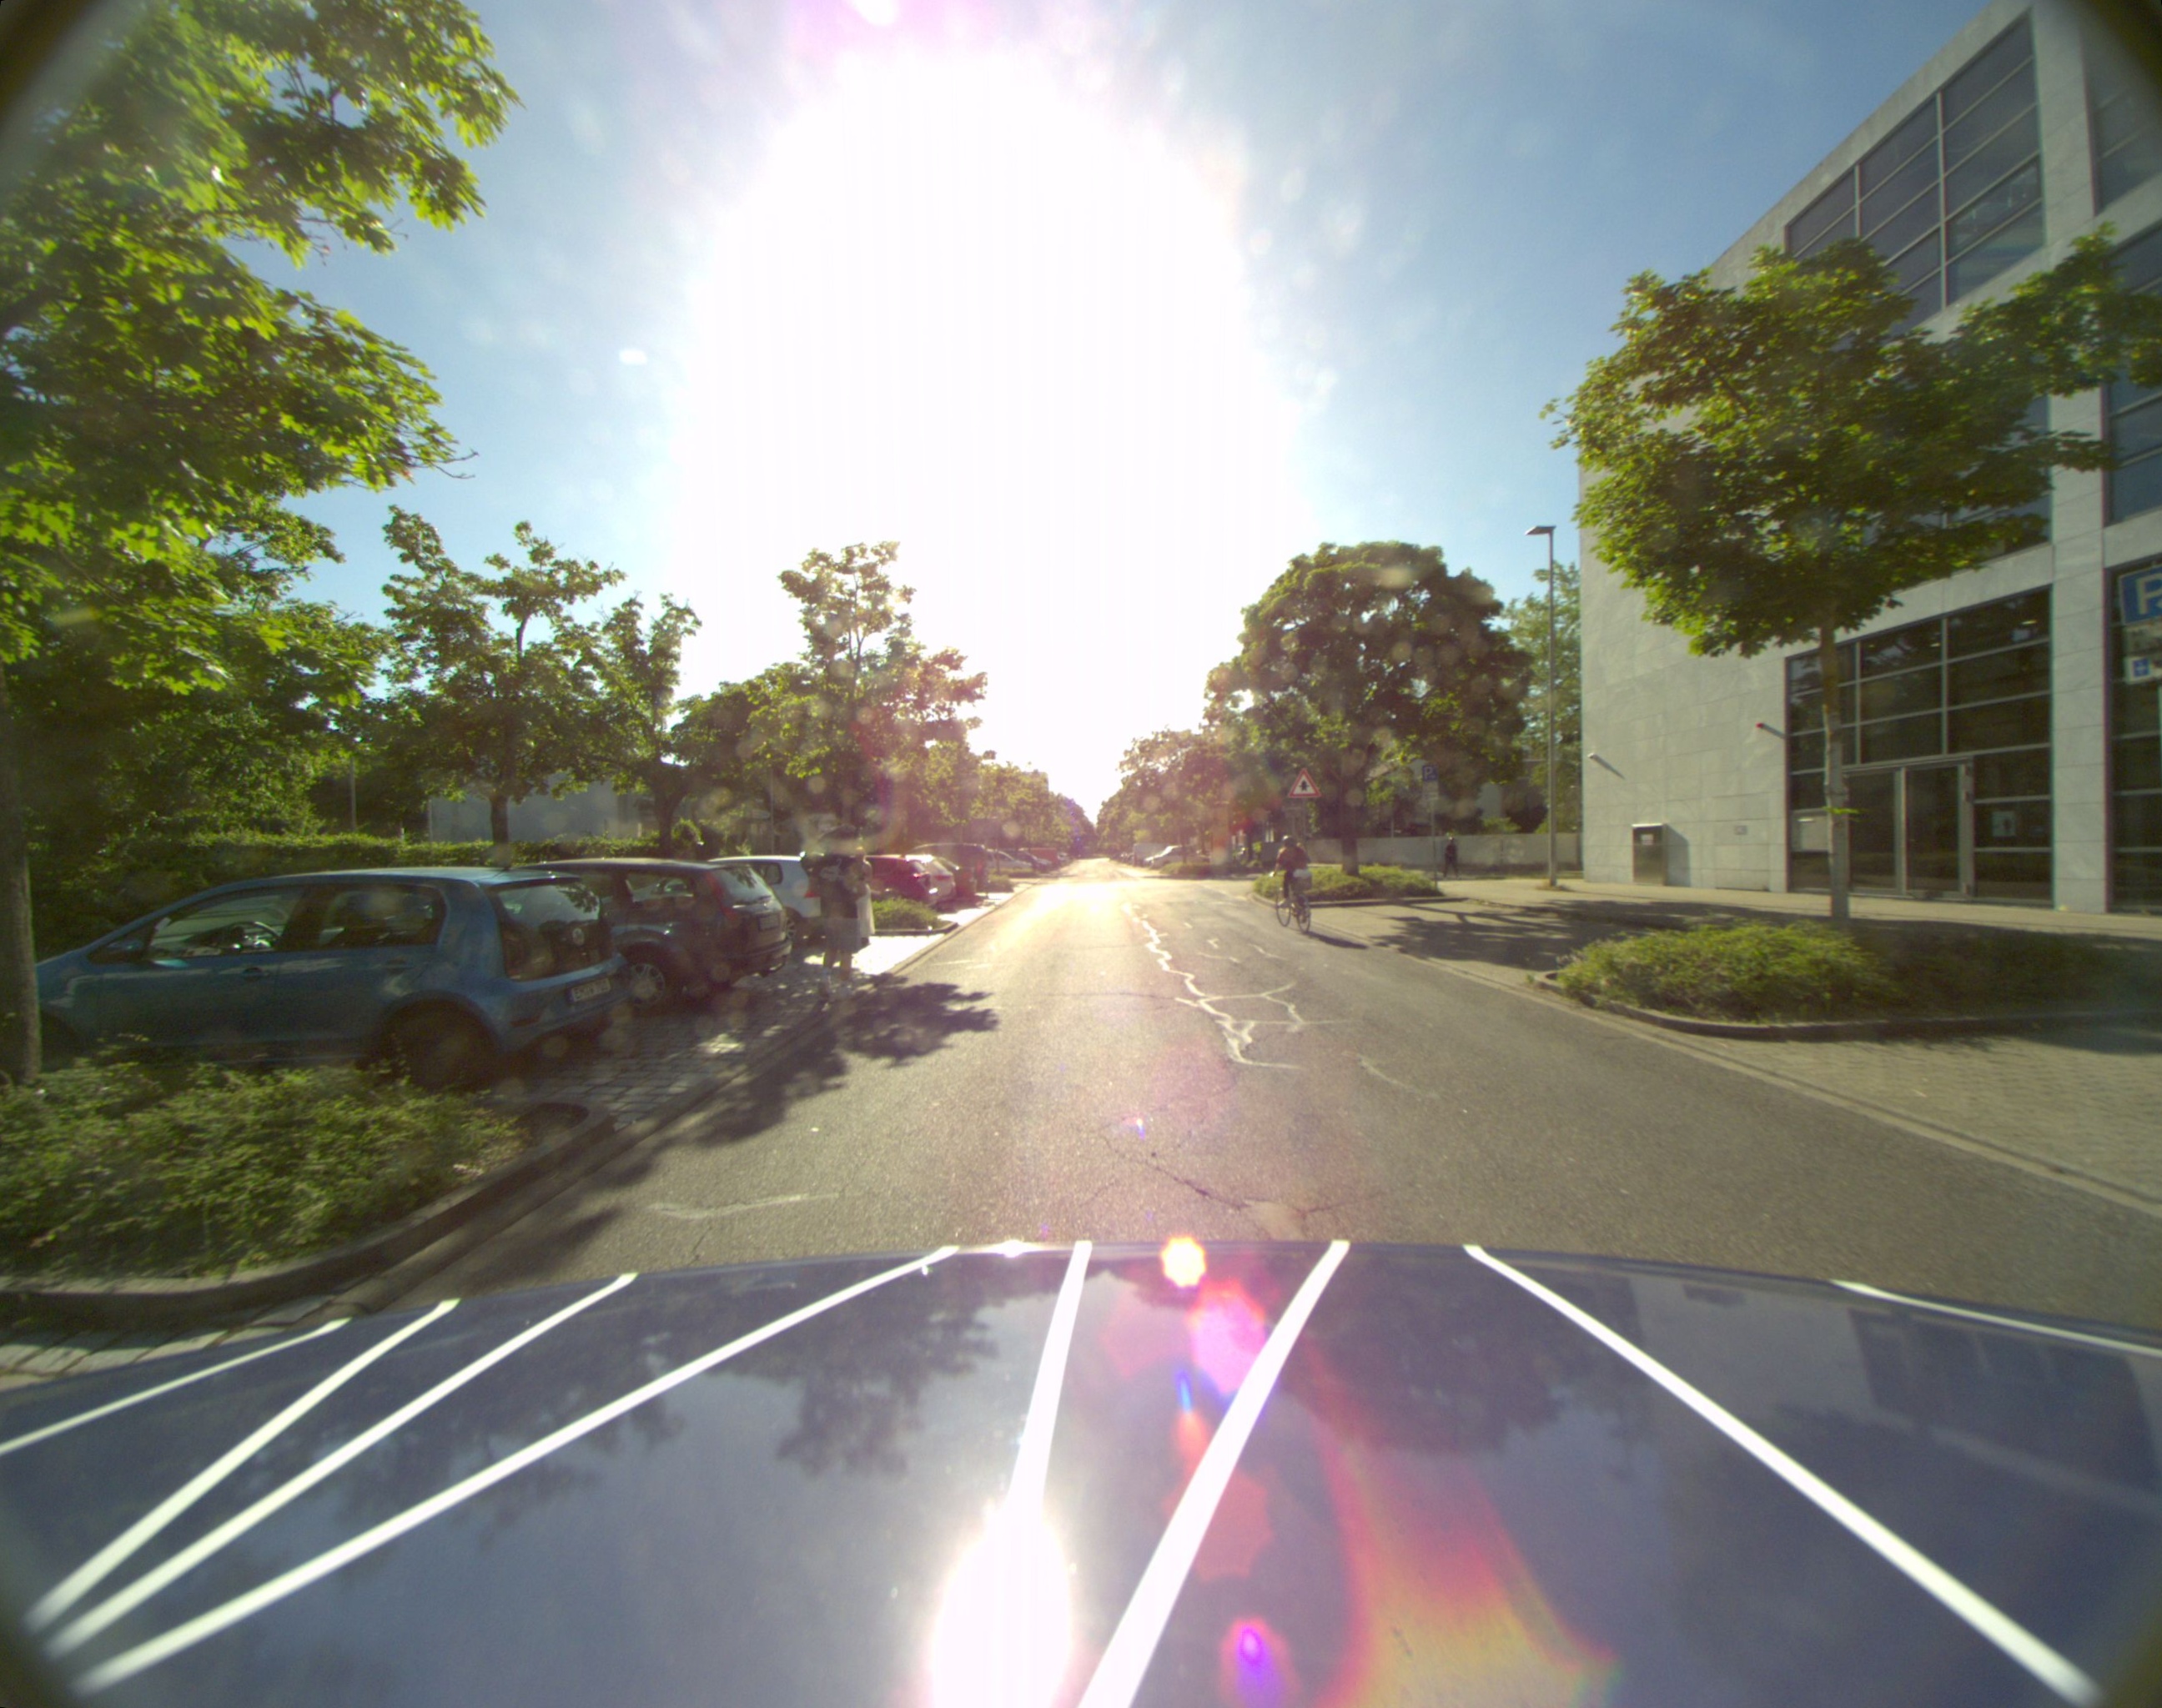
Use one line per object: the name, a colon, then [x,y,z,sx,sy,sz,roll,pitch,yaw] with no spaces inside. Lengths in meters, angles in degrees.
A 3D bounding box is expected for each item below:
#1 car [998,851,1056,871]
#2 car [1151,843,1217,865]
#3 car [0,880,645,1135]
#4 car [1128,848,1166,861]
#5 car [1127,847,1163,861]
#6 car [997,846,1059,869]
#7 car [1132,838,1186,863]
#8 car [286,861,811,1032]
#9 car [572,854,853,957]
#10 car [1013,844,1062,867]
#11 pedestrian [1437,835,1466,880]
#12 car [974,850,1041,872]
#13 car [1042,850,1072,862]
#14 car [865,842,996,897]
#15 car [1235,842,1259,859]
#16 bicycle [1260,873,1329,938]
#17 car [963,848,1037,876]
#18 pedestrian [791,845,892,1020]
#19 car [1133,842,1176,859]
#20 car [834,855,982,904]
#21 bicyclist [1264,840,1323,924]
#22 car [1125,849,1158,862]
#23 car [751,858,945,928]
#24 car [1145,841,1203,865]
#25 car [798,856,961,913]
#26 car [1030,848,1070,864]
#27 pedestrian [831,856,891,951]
car: [-3.981,0.503,56.214,4.165,1.398,1.828,0,1,-1]
car: [7.663,-0.031,57.070,4.684,1.398,1.829,-3,1,2]
car: [-5.575,0.972,5.462,3.909,1.459,1.621,-1,0,-1]
car: [8.239,0.100,95.024,4.562,1.590,2.000,-1,0,0]
car: [8.561,0.001,101.836,4.562,1.819,2.000,-1,0,0]
car: [-4.064,0.263,58.676,4.661,1.762,1.828,0,1,-1]
car: [7.681,-0.364,75.267,5.131,2.364,2.000,-1,0,0]
car: [-5.227,0.867,7.915,4.196,1.511,1.736,0,1,-1]
car: [-6.095,0.826,12.890,3.909,1.568,1.679,-1,0,-1]
car: [-3.878,0.128,68.021,4.257,2.020,1.973,0,1,-1]
pedestrian: [14.023,0.119,28.794,0.837,1.675,0.808,0,1,14]
car: [-4.726,0.455,49.285,4.165,1.398,1.828,0,1,-1]
car: [-3.391,0.264,109.032,4.257,1.706,1.973,0,1,-1]
car: [-5.176,0.502,26.470,4.165,1.836,1.880,0,1,1]
car: [16.764,-0.383,76.769,1.833,1.605,4.145,0,1,5]
bicycle: [3.752,0.871,13.527,0.759,0.996,1.872,0,1,2]
car: [-4.736,0.439,44.628,4.165,1.589,1.828,0,1,-1]
pedestrian: [-2.555,0.789,8.242,0.721,1.761,1.168,0,2,0]
car: [8.185,-0.384,84.893,4.562,1.819,2.000,-1,0,0]
car: [-5.250,0.759,23.516,4.165,1.398,1.828,0,1,-1]
bicyclist: [3.740,0.461,13.466,0.759,1.423,1.132,0,1,2]
car: [8.550,0.198,107.528,4.562,1.819,2.000,-1,0,0]
car: [-5.238,0.858,17.433,3.909,1.418,1.672,-1,2,-1]
car: [7.883,-0.079,64.729,4.633,1.979,2.000,-1,0,0]
car: [-5.297,0.782,20.352,3.909,1.428,1.808,0,0,-1]
car: [-3.270,0.221,81.270,4.257,1.605,1.973,0,1,-1]
pedestrian: [-3.768,0.831,13.057,0.766,1.570,0.674,-1,0,5]
